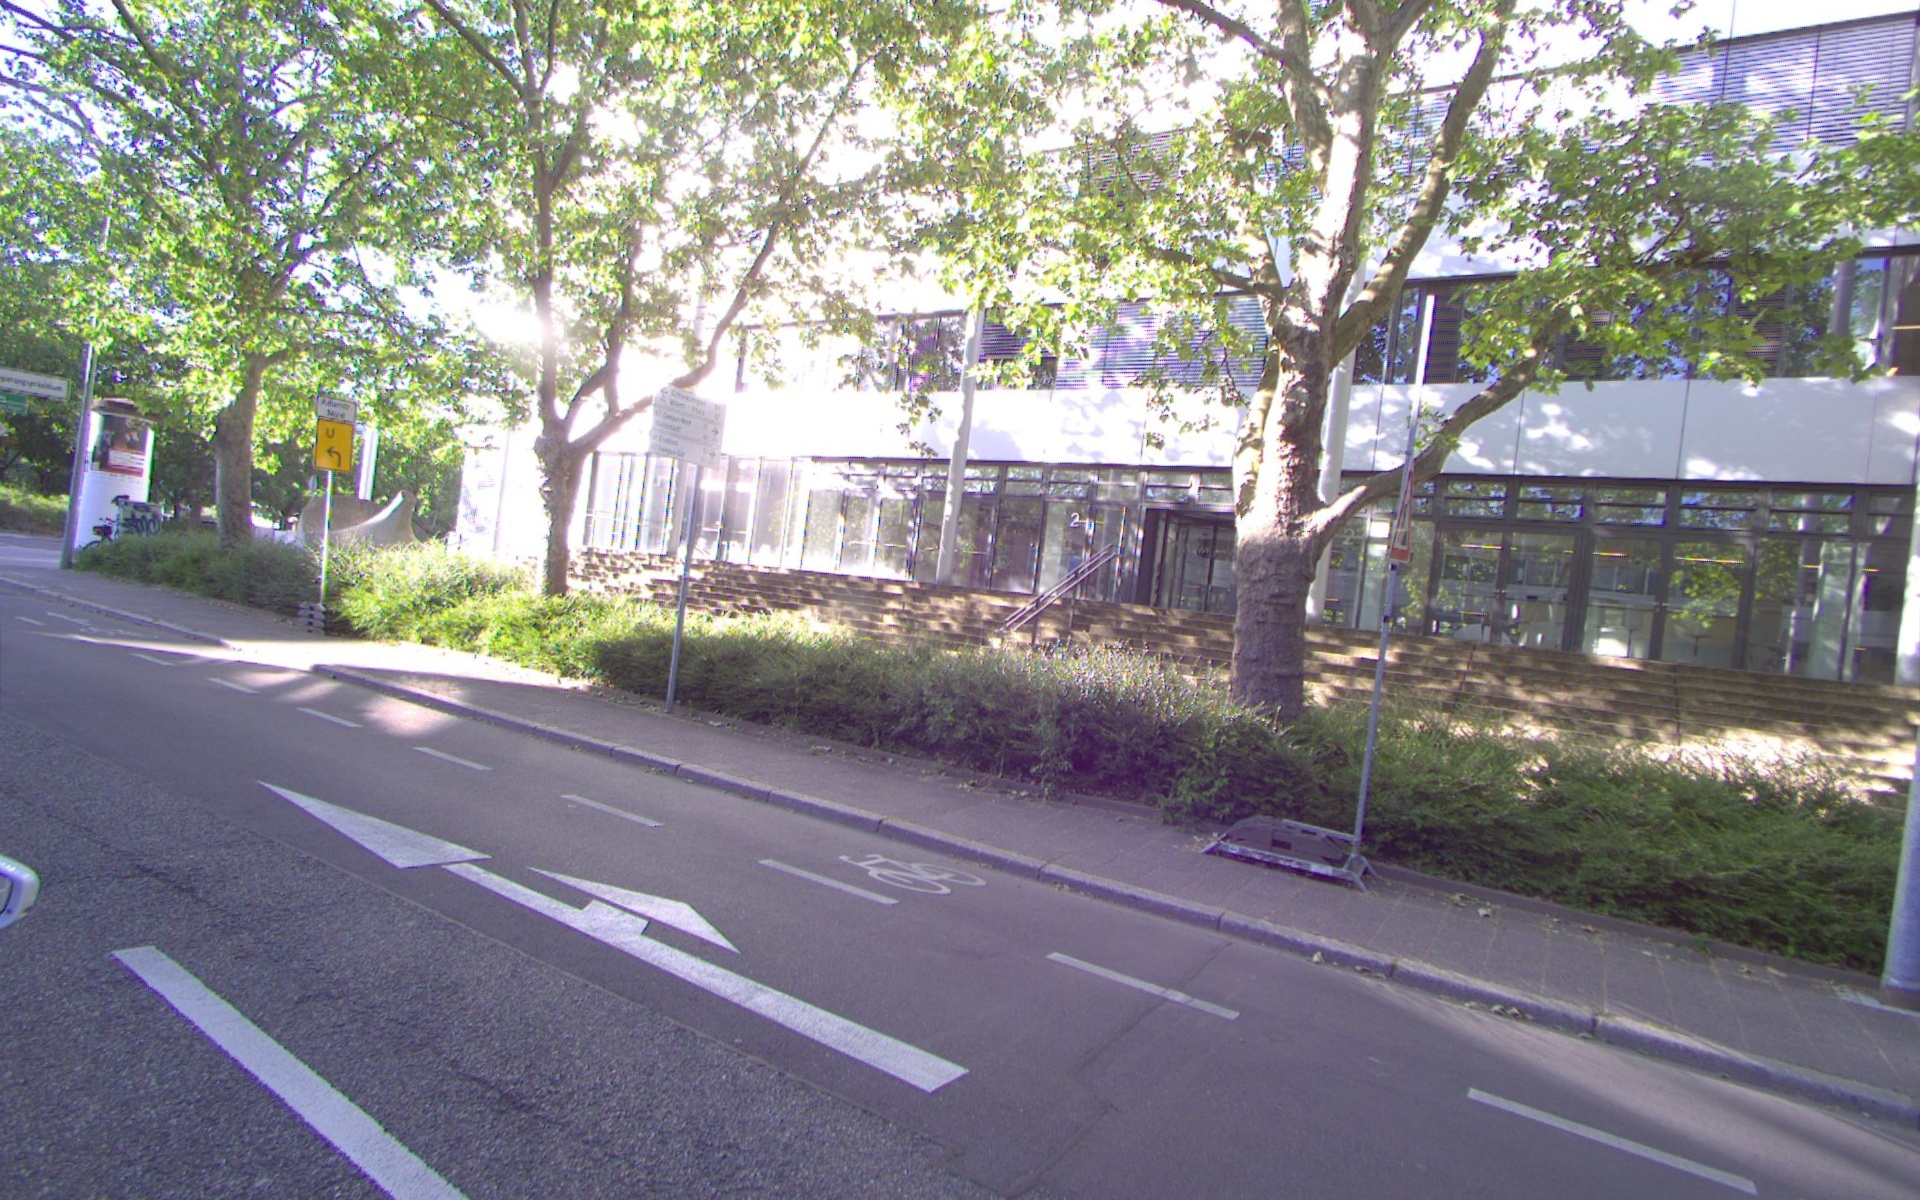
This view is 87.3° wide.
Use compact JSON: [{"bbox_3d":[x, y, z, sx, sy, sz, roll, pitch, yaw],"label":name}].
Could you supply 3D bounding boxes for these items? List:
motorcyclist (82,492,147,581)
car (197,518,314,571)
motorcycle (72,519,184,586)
[{"bbox_3d":[-19.356,-1.447,23.035,0.662,1.885,0.823,6,-1,37],"label":"motorcyclist"},{"bbox_3d":[-32.704,-2.561,46.825,1.708,1.792,3.996,7,-1,30],"label":"car"},{"bbox_3d":[-19.229,-1.093,23.283,0.712,1.257,1.782,6,-2,37],"label":"motorcycle"}]
